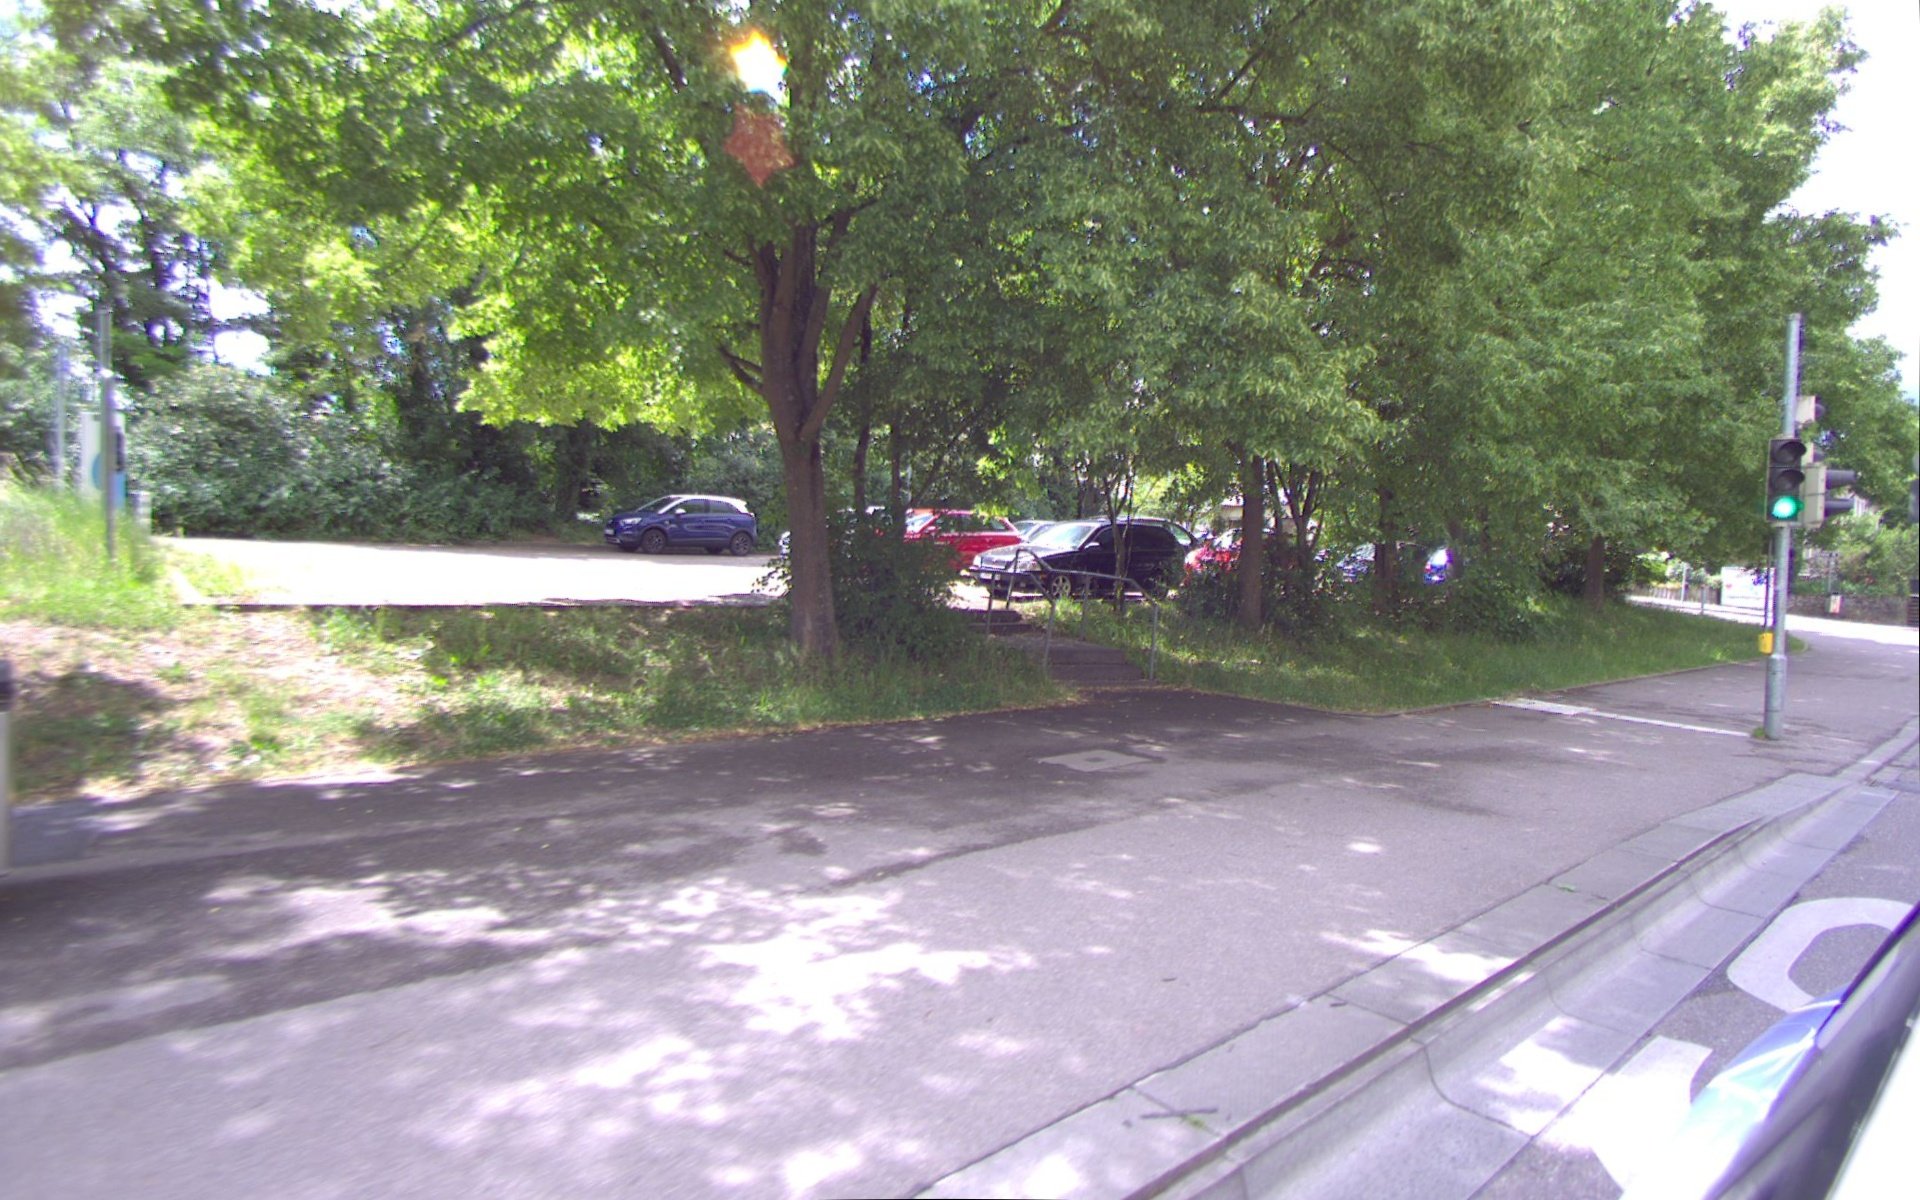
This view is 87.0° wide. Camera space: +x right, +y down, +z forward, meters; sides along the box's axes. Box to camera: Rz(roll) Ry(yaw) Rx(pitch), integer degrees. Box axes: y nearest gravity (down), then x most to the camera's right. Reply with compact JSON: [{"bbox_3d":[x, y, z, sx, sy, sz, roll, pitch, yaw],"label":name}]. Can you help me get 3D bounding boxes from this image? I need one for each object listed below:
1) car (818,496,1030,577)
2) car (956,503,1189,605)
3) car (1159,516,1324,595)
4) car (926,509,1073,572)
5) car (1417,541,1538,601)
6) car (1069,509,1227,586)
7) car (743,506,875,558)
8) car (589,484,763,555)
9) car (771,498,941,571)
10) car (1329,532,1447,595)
[{"bbox_3d":[-0.699,-1.350,22.055,4.464,1.495,1.756,0,5,-41],"label":"car"},{"bbox_3d":[2.031,-0.769,17.583,4.066,1.532,1.631,0,6,-41],"label":"car"},{"bbox_3d":[6.162,-0.947,21.982,3.598,1.518,1.665,0,5,-41],"label":"car"},{"bbox_3d":[1.113,-1.578,27.322,3.795,1.459,1.757,0,5,-43],"label":"car"},{"bbox_3d":[14.520,-0.842,28.331,3.751,1.529,1.826,-2,5,-43],"label":"car"},{"bbox_3d":[4.489,-1.221,23.969,3.598,1.601,1.756,0,5,-41],"label":"car"},{"bbox_3d":[-4.496,-2.018,30.359,3.598,1.344,1.635,0,5,-41],"label":"car"},{"bbox_3d":[-7.628,-2.110,27.335,4.030,1.644,2.063,0,3,-42],"label":"car"},{"bbox_3d":[-2.359,-1.491,23.391,3.598,1.495,1.635,0,5,-41],"label":"car"},{"bbox_3d":[12.638,-1.095,29.822,3.841,1.653,1.682,-2,7,-43],"label":"car"}]
